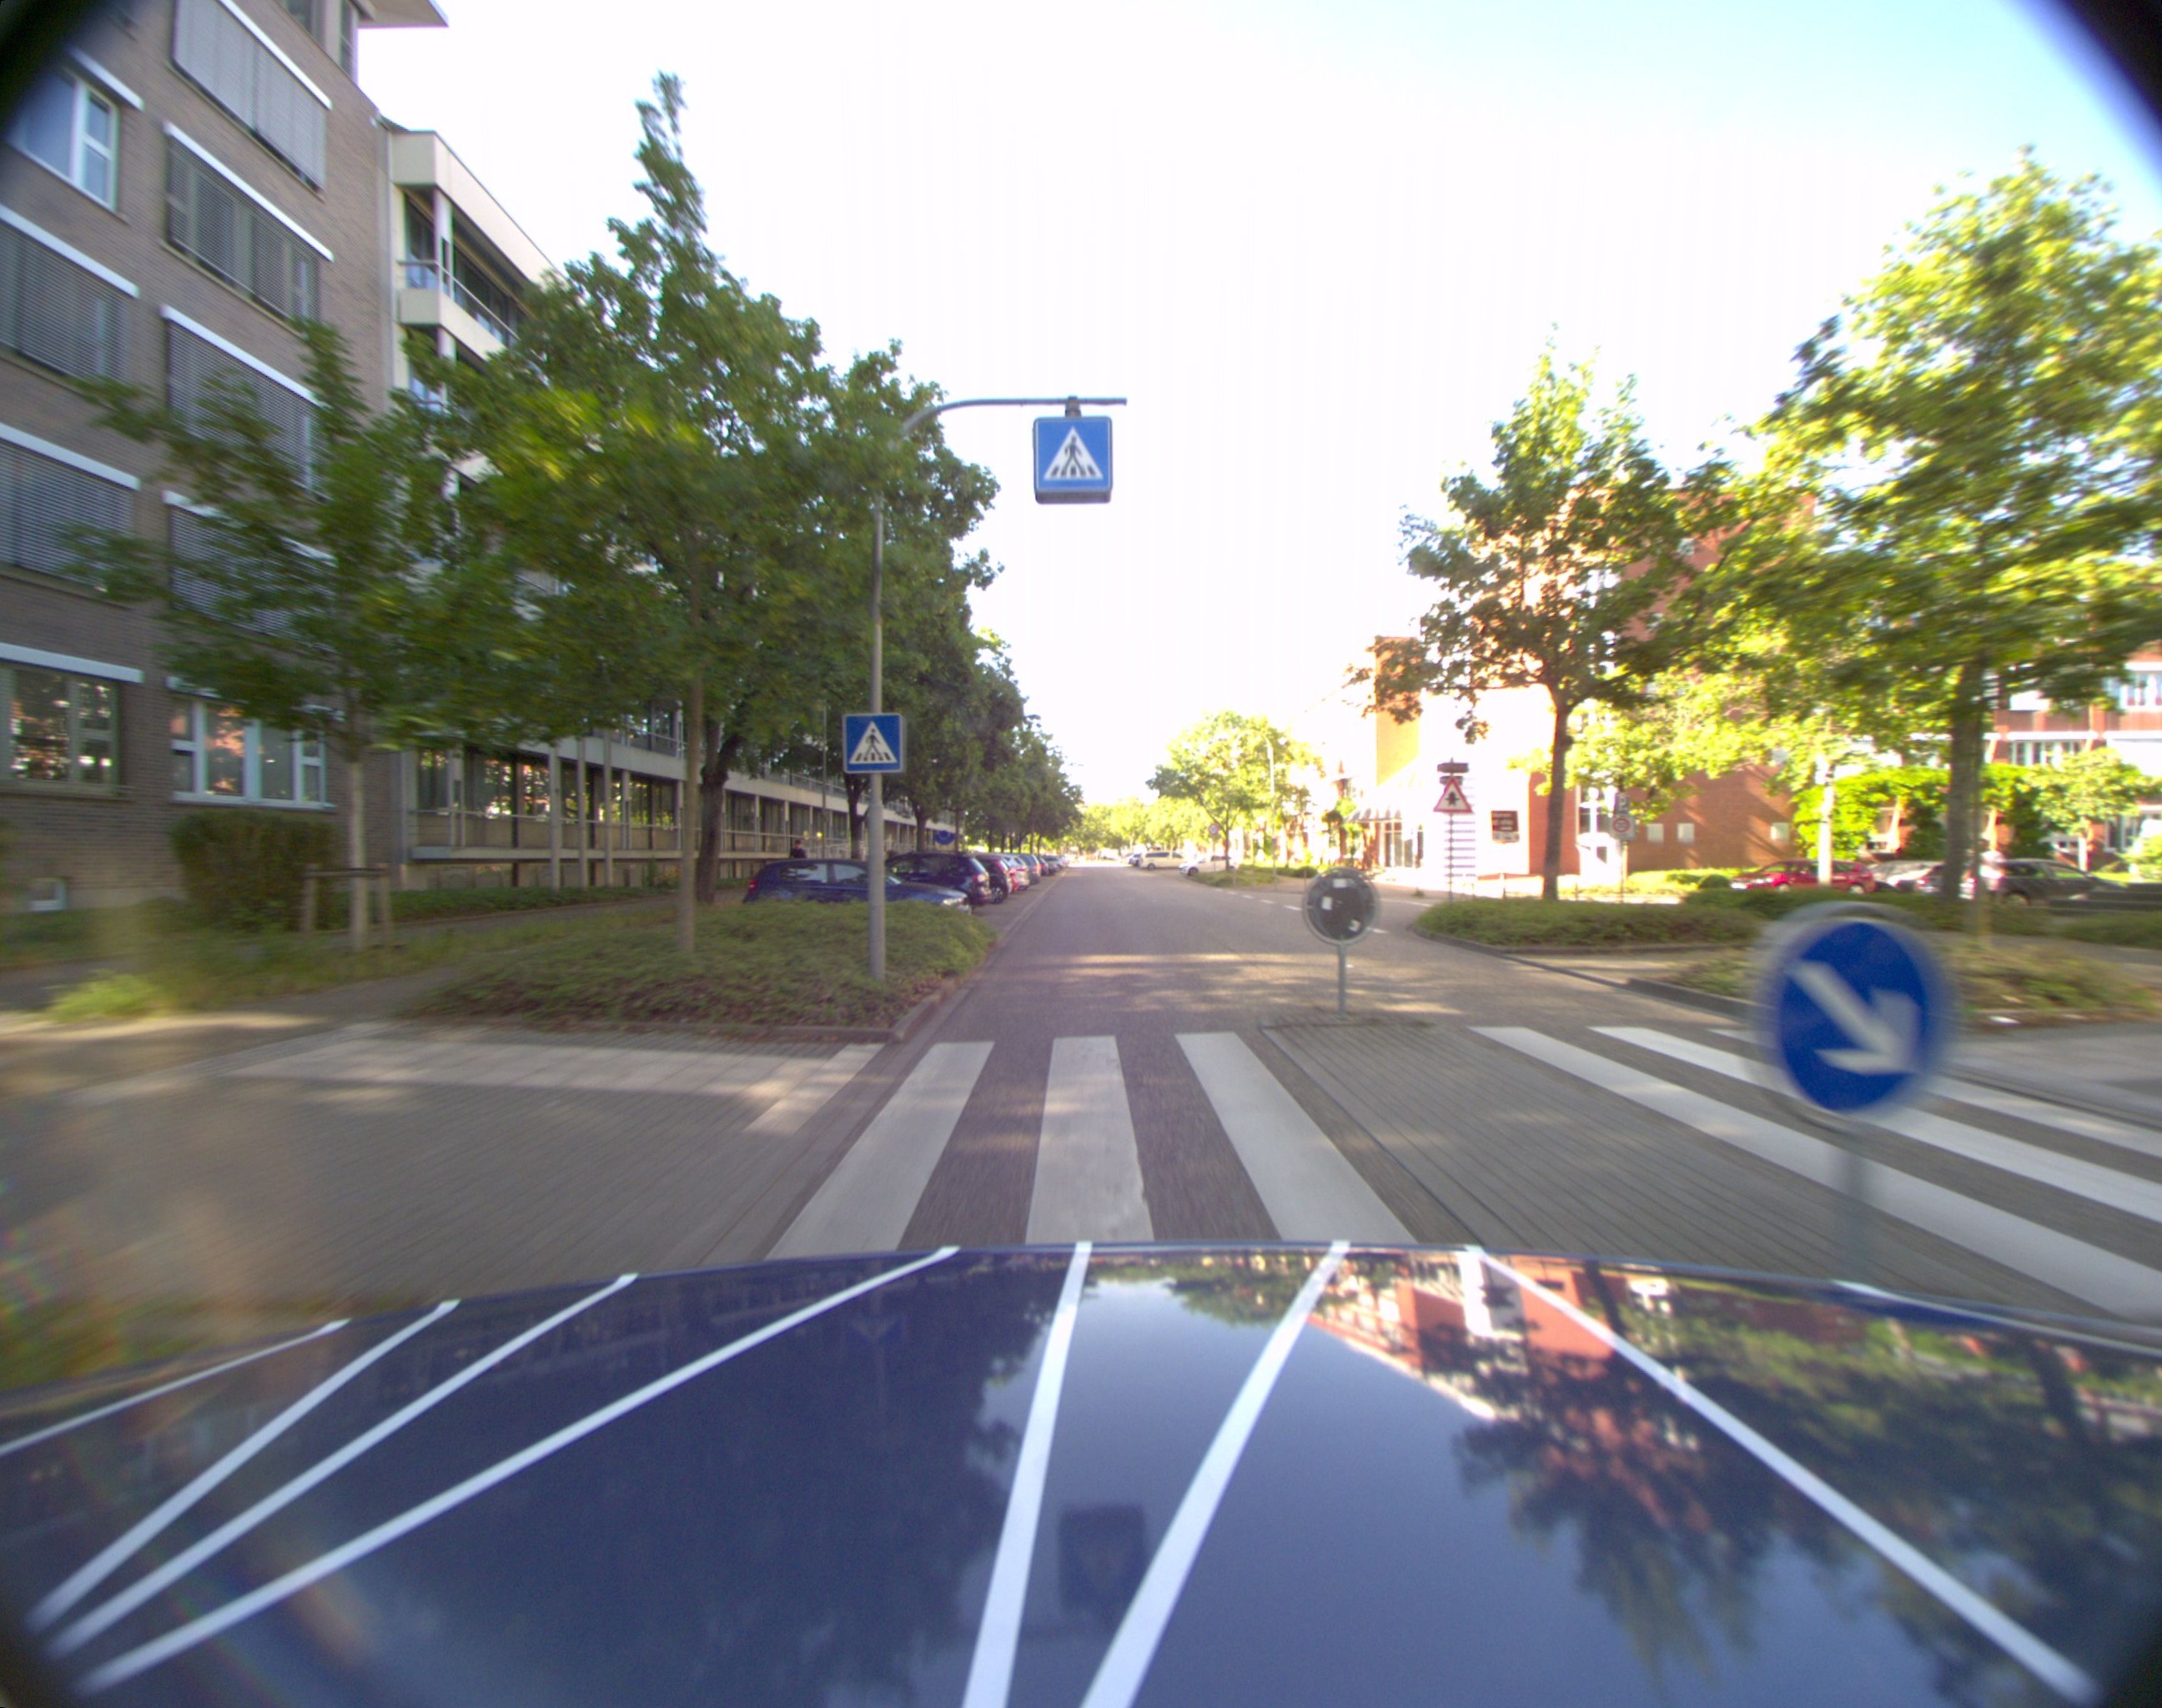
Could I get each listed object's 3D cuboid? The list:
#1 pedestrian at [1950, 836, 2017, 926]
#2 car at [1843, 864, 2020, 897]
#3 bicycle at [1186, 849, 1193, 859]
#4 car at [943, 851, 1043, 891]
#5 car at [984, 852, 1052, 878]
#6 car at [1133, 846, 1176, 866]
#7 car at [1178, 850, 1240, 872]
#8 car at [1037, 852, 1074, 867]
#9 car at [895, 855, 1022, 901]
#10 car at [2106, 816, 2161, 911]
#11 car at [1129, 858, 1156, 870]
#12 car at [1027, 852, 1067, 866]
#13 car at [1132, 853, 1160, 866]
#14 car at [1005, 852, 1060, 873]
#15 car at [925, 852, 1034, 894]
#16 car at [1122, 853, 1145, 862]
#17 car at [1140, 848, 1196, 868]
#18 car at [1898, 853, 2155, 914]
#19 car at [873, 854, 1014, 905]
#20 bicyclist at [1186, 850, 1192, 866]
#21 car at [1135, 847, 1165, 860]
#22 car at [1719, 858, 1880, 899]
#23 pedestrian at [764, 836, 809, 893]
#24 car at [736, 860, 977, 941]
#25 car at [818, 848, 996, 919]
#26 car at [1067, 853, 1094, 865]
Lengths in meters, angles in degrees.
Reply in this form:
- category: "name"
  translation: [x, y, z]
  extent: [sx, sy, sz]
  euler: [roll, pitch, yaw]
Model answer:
- category: "pedestrian"
  translation: [19.661, 0.577, 16.562]
  extent: [0.623, 1.907, 0.672]
  euler: [0, 1, 2]
- category: "car"
  translation: [32.669, 1.003, 29.290]
  extent: [4.720, 1.180, 1.848]
  euler: [-1, 0, 1]
- category: "bicycle"
  translation: [12.951, -0.006, 91.053]
  extent: [0.637, 1.093, 2.155]
  euler: [-2, 1, 4]
- category: "car"
  translation: [-3.729, 0.696, 32.768]
  extent: [4.136, 1.657, 1.907]
  euler: [0, 0, -4]
- category: "car"
  translation: [-3.871, 0.655, 47.020]
  extent: [3.996, 1.486, 1.714]
  euler: [2, 1, 3]
- category: "car"
  translation: [8.274, 0.198, 85.642]
  extent: [4.634, 2.156, 2.000]
  euler: [0, 1, 1]
- category: "car"
  translation: [8.857, 0.497, 52.759]
  extent: [4.003, 1.411, 1.618]
  euler: [-2, 1, -1]
- category: "car"
  translation: [-2.768, 0.569, 82.108]
  extent: [3.998, 1.471, 1.804]
  euler: [1, 1, -3]
- category: "car"
  translation: [-4.107, 0.794, 26.074]
  extent: [4.136, 1.508, 1.836]
  euler: [0, 0, -4]
- category: "car"
  translation: [31.565, 0.222, 20.425]
  extent: [5.475, 2.554, 1.923]
  euler: [-1, 1, 0]
- category: "car"
  translation: [8.246, 1.343, 102.202]
  extent: [3.451, 1.647, 1.594]
  euler: [0, 1, 0]
- category: "car"
  translation: [-3.443, 0.500, 77.196]
  extent: [3.998, 1.471, 1.804]
  euler: [0, 1, -3]
- category: "car"
  translation: [8.551, 0.713, 100.158]
  extent: [3.451, 1.619, 1.594]
  euler: [0, 1, 0]
- category: "car"
  translation: [-3.544, 0.641, 55.314]
  extent: [3.917, 1.374, 1.586]
  euler: [2, 2, -3]
- category: "car"
  translation: [-3.930, 0.715, 29.762]
  extent: [3.996, 1.575, 1.714]
  euler: [0, 1, 2]
- category: "car"
  translation: [8.305, 0.517, 120.188]
  extent: [3.451, 1.336, 1.594]
  euler: [0, 1, 0]
- category: "car"
  translation: [8.548, 0.364, 75.151]
  extent: [5.317, 1.875, 2.000]
  euler: [0, 1, 1]
- category: "car"
  translation: [25.230, 0.742, 20.390]
  extent: [4.721, 1.499, 1.847]
  euler: [-1, 0, -2]
- category: "car"
  translation: [-4.202, 0.775, 23.727]
  extent: [4.136, 1.452, 1.659]
  euler: [2, 1, -4]
- category: "bicyclist"
  translation: [12.950, 0.478, 90.974]
  extent: [0.633, 2.002, 0.609]
  euler: [-2, 1, 3]
- category: "car"
  translation: [8.198, -0.032, 91.076]
  extent: [3.451, 1.546, 1.594]
  euler: [0, 1, 0]
- category: "car"
  translation: [27.520, 0.929, 29.212]
  extent: [4.437, 1.444, 1.848]
  euler: [-1, 0, 1]
- category: "pedestrian"
  translation: [-9.741, 0.334, 25.153]
  extent: [1.037, 1.788, 1.018]
  euler: [-2, 1, -1]
- category: "car"
  translation: [-4.161, 0.854, 14.581]
  extent: [4.127, 1.362, 1.654]
  euler: [2, 1, -3]
- category: "car"
  translation: [-4.285, 0.712, 19.167]
  extent: [4.136, 1.581, 1.659]
  euler: [2, 1, -4]
- category: "car"
  translation: [-0.068, 0.692, 102.396]
  extent: [3.554, 1.544, 1.743]
  euler: [1, -2, -3]
